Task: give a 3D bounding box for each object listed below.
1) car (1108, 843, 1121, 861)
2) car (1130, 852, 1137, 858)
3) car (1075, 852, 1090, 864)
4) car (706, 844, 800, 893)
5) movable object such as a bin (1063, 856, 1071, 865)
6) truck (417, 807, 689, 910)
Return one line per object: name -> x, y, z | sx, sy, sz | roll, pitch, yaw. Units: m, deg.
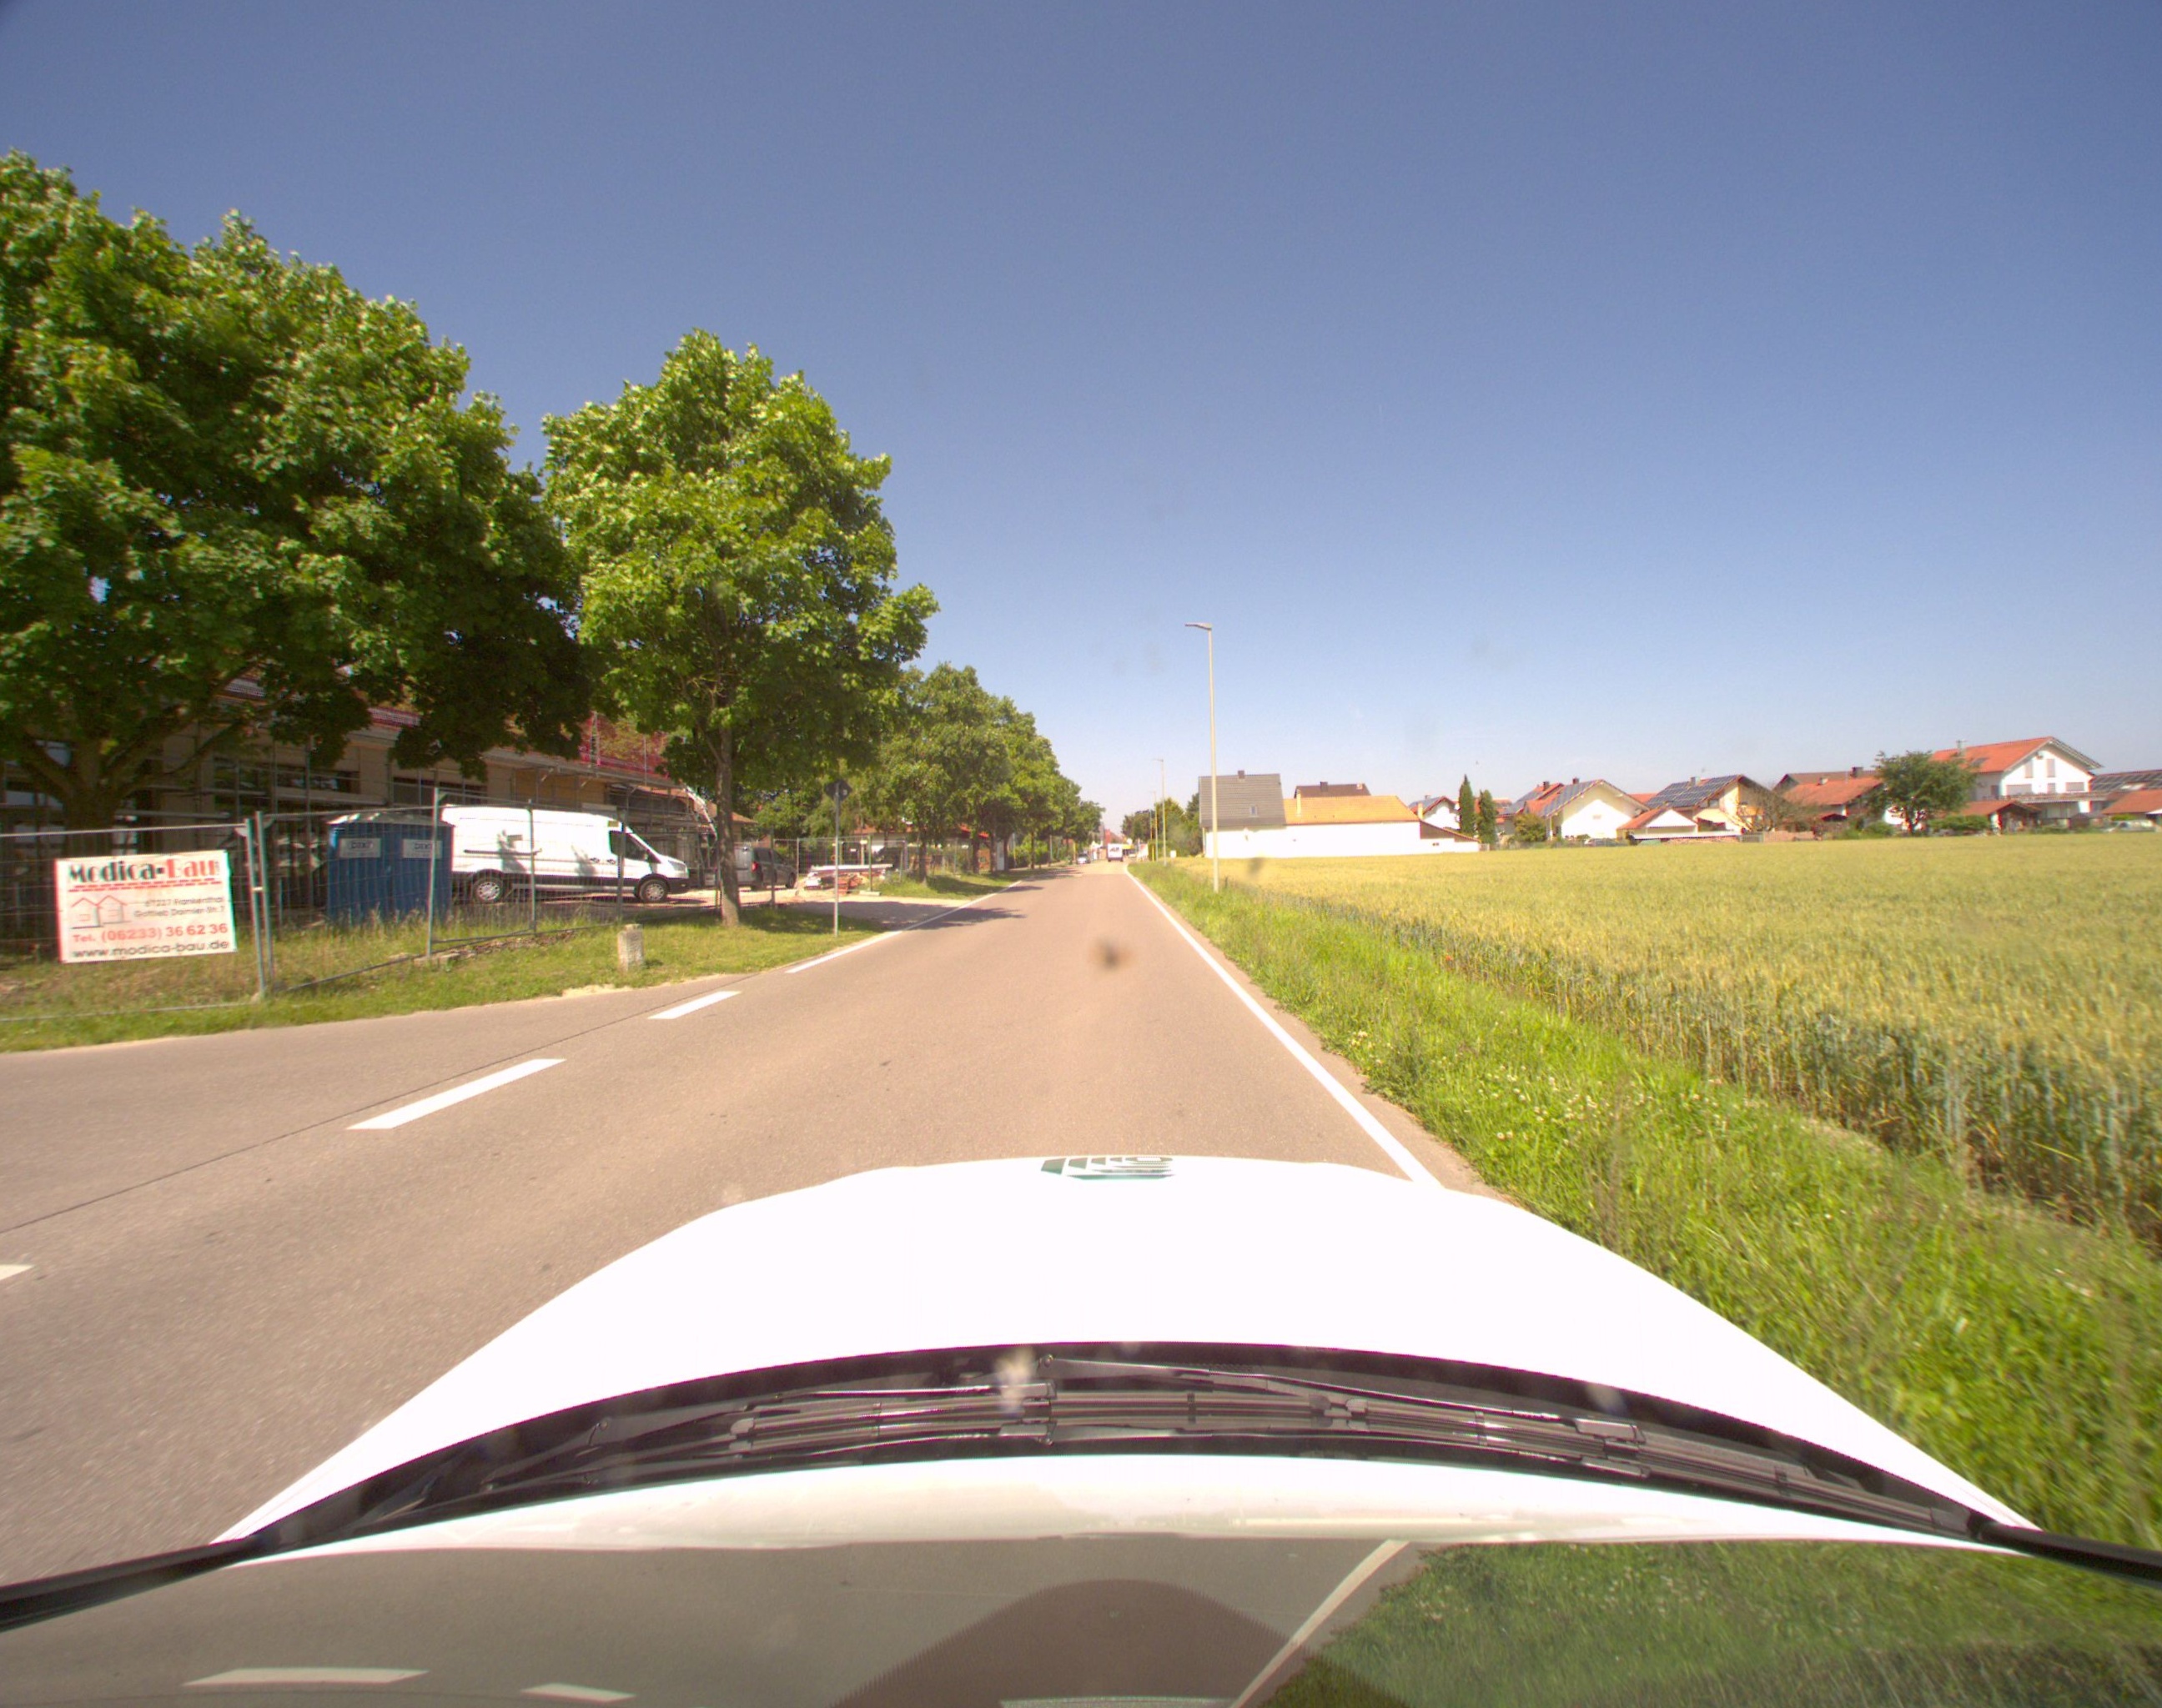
car -> 4.651, -0.317, 114.581 | 1.731, 2.432, 4.376 | -2, 0, 2
car -> 14.427, 0.156, 221.918 | 1.660, 1.524, 3.443 | -3, 0, 1
car -> 0.227, 0.538, 106.959 | 1.641, 1.423, 4.082 | -4, 0, 2
car -> -13.370, 0.566, 33.485 | 1.963, 1.838, 4.329 | -1, 0, 1
movable object such as a bin -> -1.707, 0.809, 101.562 | 0.706, 1.079, 0.644 | -2, 0, 29
truck -> -14.126, 0.072, 22.173 | 5.957, 2.483, 1.978 | -1, -1, -36
